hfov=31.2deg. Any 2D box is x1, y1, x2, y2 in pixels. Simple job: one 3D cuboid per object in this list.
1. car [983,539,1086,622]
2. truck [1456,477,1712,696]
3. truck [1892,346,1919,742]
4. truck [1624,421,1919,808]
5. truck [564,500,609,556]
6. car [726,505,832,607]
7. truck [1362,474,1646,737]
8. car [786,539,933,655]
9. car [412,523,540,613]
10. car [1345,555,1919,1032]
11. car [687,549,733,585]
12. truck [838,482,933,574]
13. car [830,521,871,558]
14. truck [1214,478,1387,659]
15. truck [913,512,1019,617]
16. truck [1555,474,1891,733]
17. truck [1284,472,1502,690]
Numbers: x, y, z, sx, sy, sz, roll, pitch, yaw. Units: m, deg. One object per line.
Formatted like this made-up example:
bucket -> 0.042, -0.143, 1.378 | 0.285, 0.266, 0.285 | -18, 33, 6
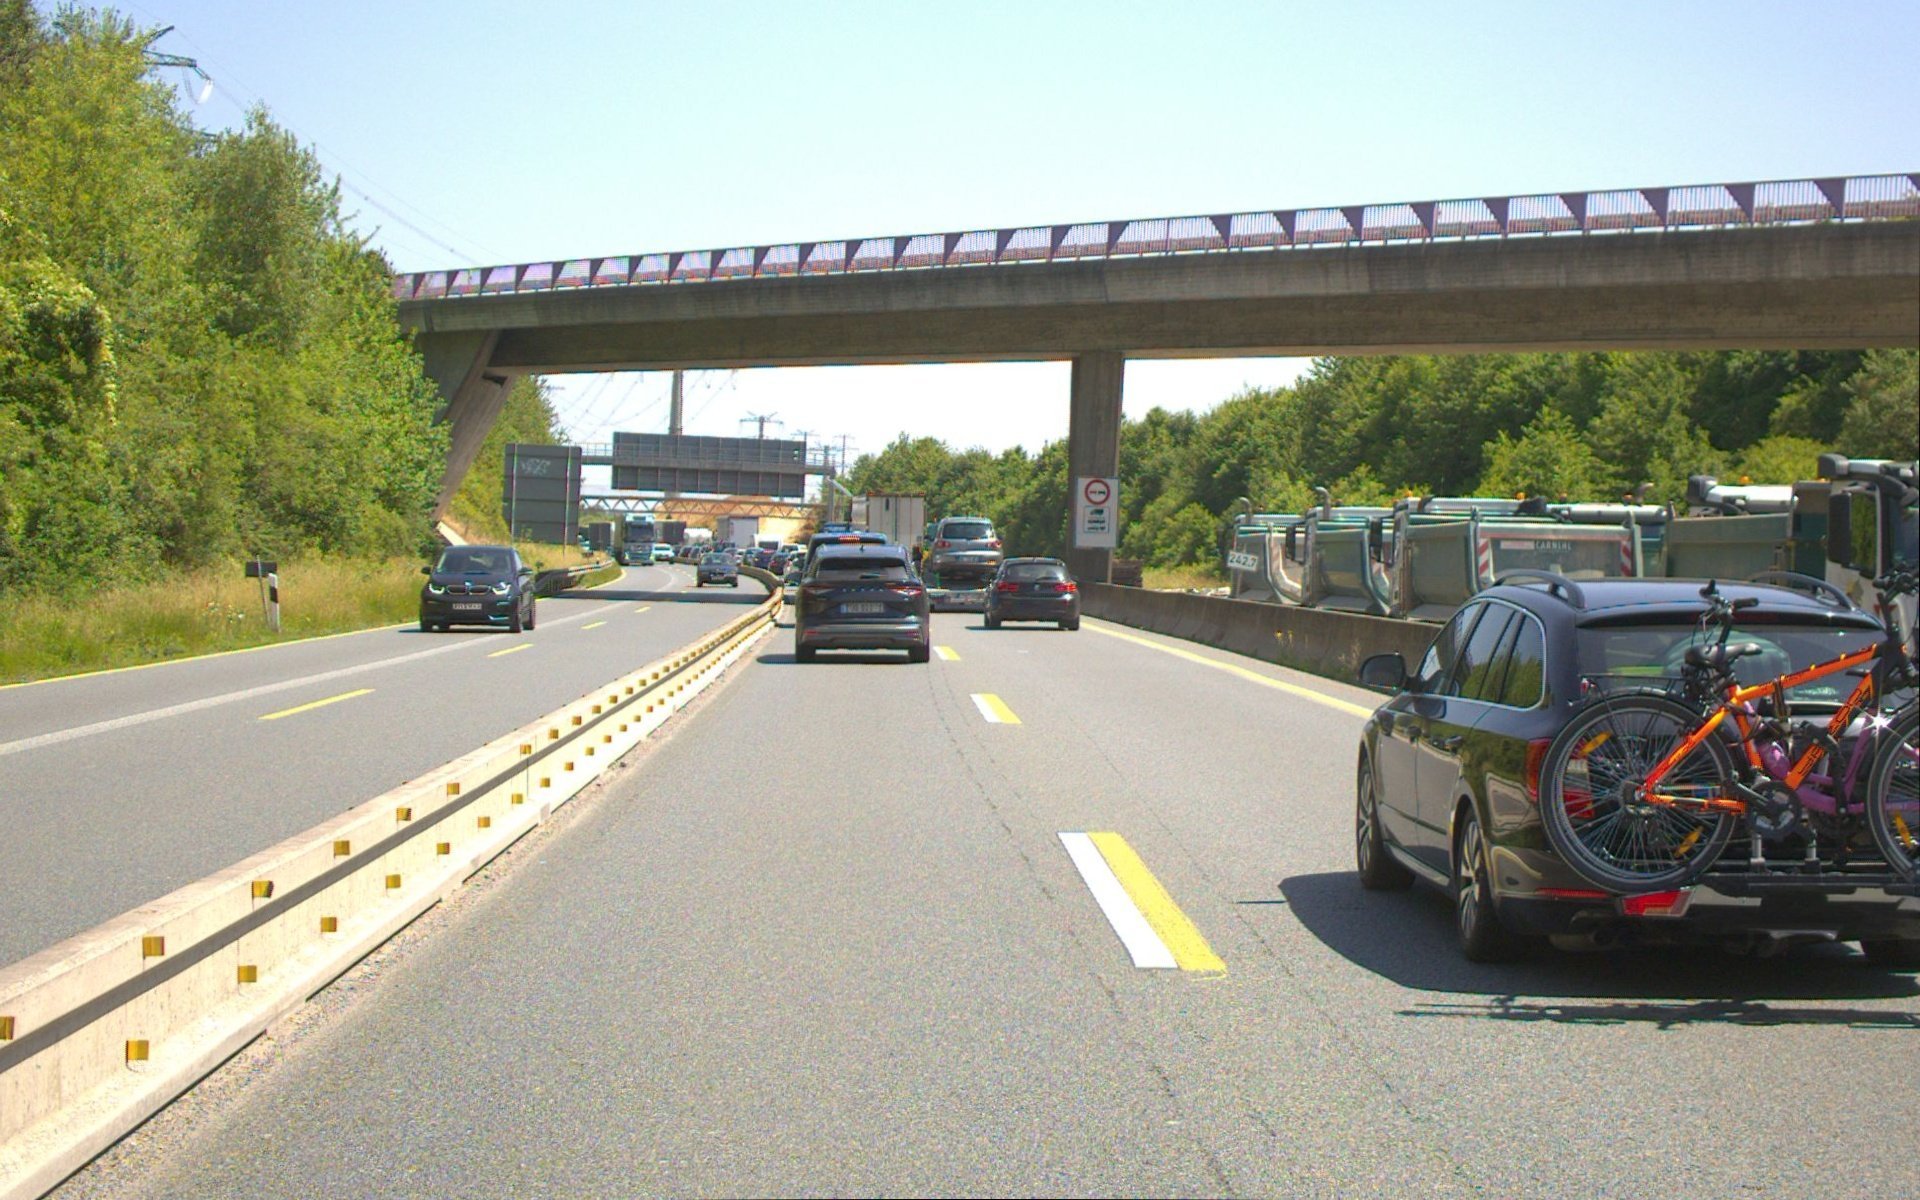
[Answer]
car -> 1.458, -0.409, 68.901 | 1.899, 1.580, 4.276 | 1, 1, 0
truck -> 11.411, -0.310, 63.869 | 2.687, 3.714, 9.326 | 1, 1, -2
truck -> 10.068, -0.416, 26.852 | 2.687, 3.545, 9.326 | 1, 1, -2
truck -> 9.440, 0.076, 36.290 | 2.687, 3.545, 9.326 | 1, 1, -2
truck -> -22.095, -4.260, 203.444 | 2.508, 3.175, 10.112 | 1, 1, -6
car -> -3.618, -0.886, 69.509 | 1.899, 1.962, 4.276 | 1, 1, 0
truck -> 8.417, 0.007, 54.388 | 2.687, 3.748, 9.326 | 1, 1, -2
car -> -1.345, -0.064, 47.629 | 1.899, 1.500, 4.276 | 1, 1, 0
car -> -8.806, -0.599, 62.767 | 1.778, 1.571, 4.069 | 1, 1, 0
car -> 2.751, 0.599, 13.364 | 1.899, 1.485, 4.947 | 1, 0, 0
car -> -10.193, -1.349, 140.473 | 1.673, 1.388, 4.071 | 1, 0, -2
truck -> -3.342, -3.160, 151.508 | 3.292, 3.832, 10.112 | 1, 1, -6
car -> -5.944, -3.288, 186.371 | 1.899, 1.962, 4.277 | 1, 1, -6
truck -> 7.632, -0.752, 78.219 | 2.687, 3.830, 9.326 | 1, 1, -2
truck -> 0.095, -0.966, 88.595 | 2.405, 2.549, 7.501 | 1, 1, -2
truck -> 11.391, -0.022, 52.357 | 2.687, 3.545, 9.326 | 1, 1, -2
truck -> 8.169, -0.417, 66.035 | 2.687, 3.843, 9.326 | 1, 1, -2
